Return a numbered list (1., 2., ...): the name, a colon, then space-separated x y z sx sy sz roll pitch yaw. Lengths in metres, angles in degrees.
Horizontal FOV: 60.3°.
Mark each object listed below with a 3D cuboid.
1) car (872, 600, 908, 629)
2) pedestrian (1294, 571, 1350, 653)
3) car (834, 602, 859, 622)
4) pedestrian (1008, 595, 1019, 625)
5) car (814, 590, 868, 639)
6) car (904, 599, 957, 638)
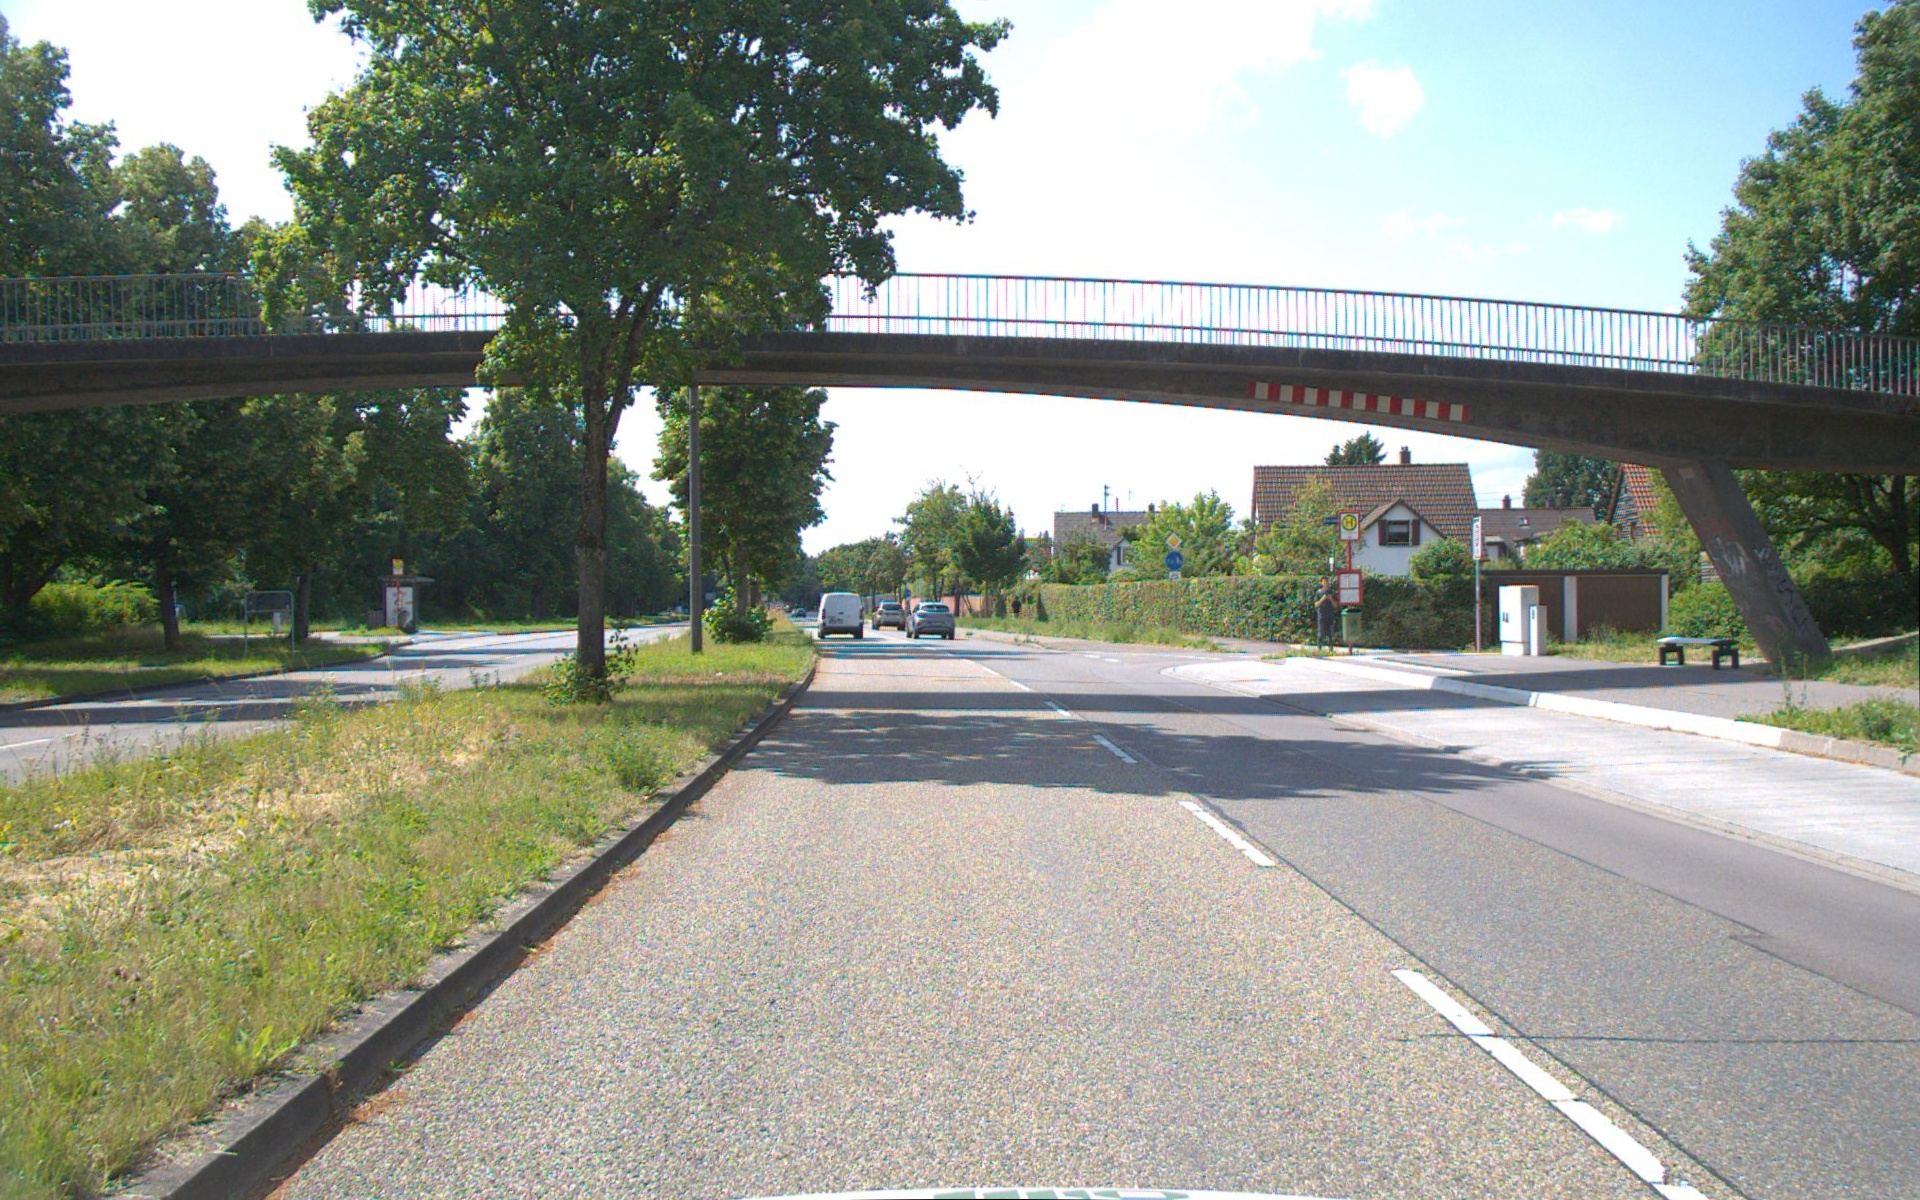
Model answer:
1. car: -4.152 0.867 98.137 1.839 1.681 3.994 0 -1 -7
2. pedestrian: 8.532 0.296 39.016 0.935 1.856 1.086 -2 -3 -4
3. car: -9.350 0.973 136.409 1.844 1.615 3.994 0 0 -7
4. pedestrian: 3.039 0.550 94.052 0.549 1.706 0.633 0 -1 -7
5. car: -4.958 0.582 68.463 2.026 1.945 4.639 0 0 -7
6. car: -1.287 0.790 70.588 1.839 1.617 4.178 0 -1 -7
